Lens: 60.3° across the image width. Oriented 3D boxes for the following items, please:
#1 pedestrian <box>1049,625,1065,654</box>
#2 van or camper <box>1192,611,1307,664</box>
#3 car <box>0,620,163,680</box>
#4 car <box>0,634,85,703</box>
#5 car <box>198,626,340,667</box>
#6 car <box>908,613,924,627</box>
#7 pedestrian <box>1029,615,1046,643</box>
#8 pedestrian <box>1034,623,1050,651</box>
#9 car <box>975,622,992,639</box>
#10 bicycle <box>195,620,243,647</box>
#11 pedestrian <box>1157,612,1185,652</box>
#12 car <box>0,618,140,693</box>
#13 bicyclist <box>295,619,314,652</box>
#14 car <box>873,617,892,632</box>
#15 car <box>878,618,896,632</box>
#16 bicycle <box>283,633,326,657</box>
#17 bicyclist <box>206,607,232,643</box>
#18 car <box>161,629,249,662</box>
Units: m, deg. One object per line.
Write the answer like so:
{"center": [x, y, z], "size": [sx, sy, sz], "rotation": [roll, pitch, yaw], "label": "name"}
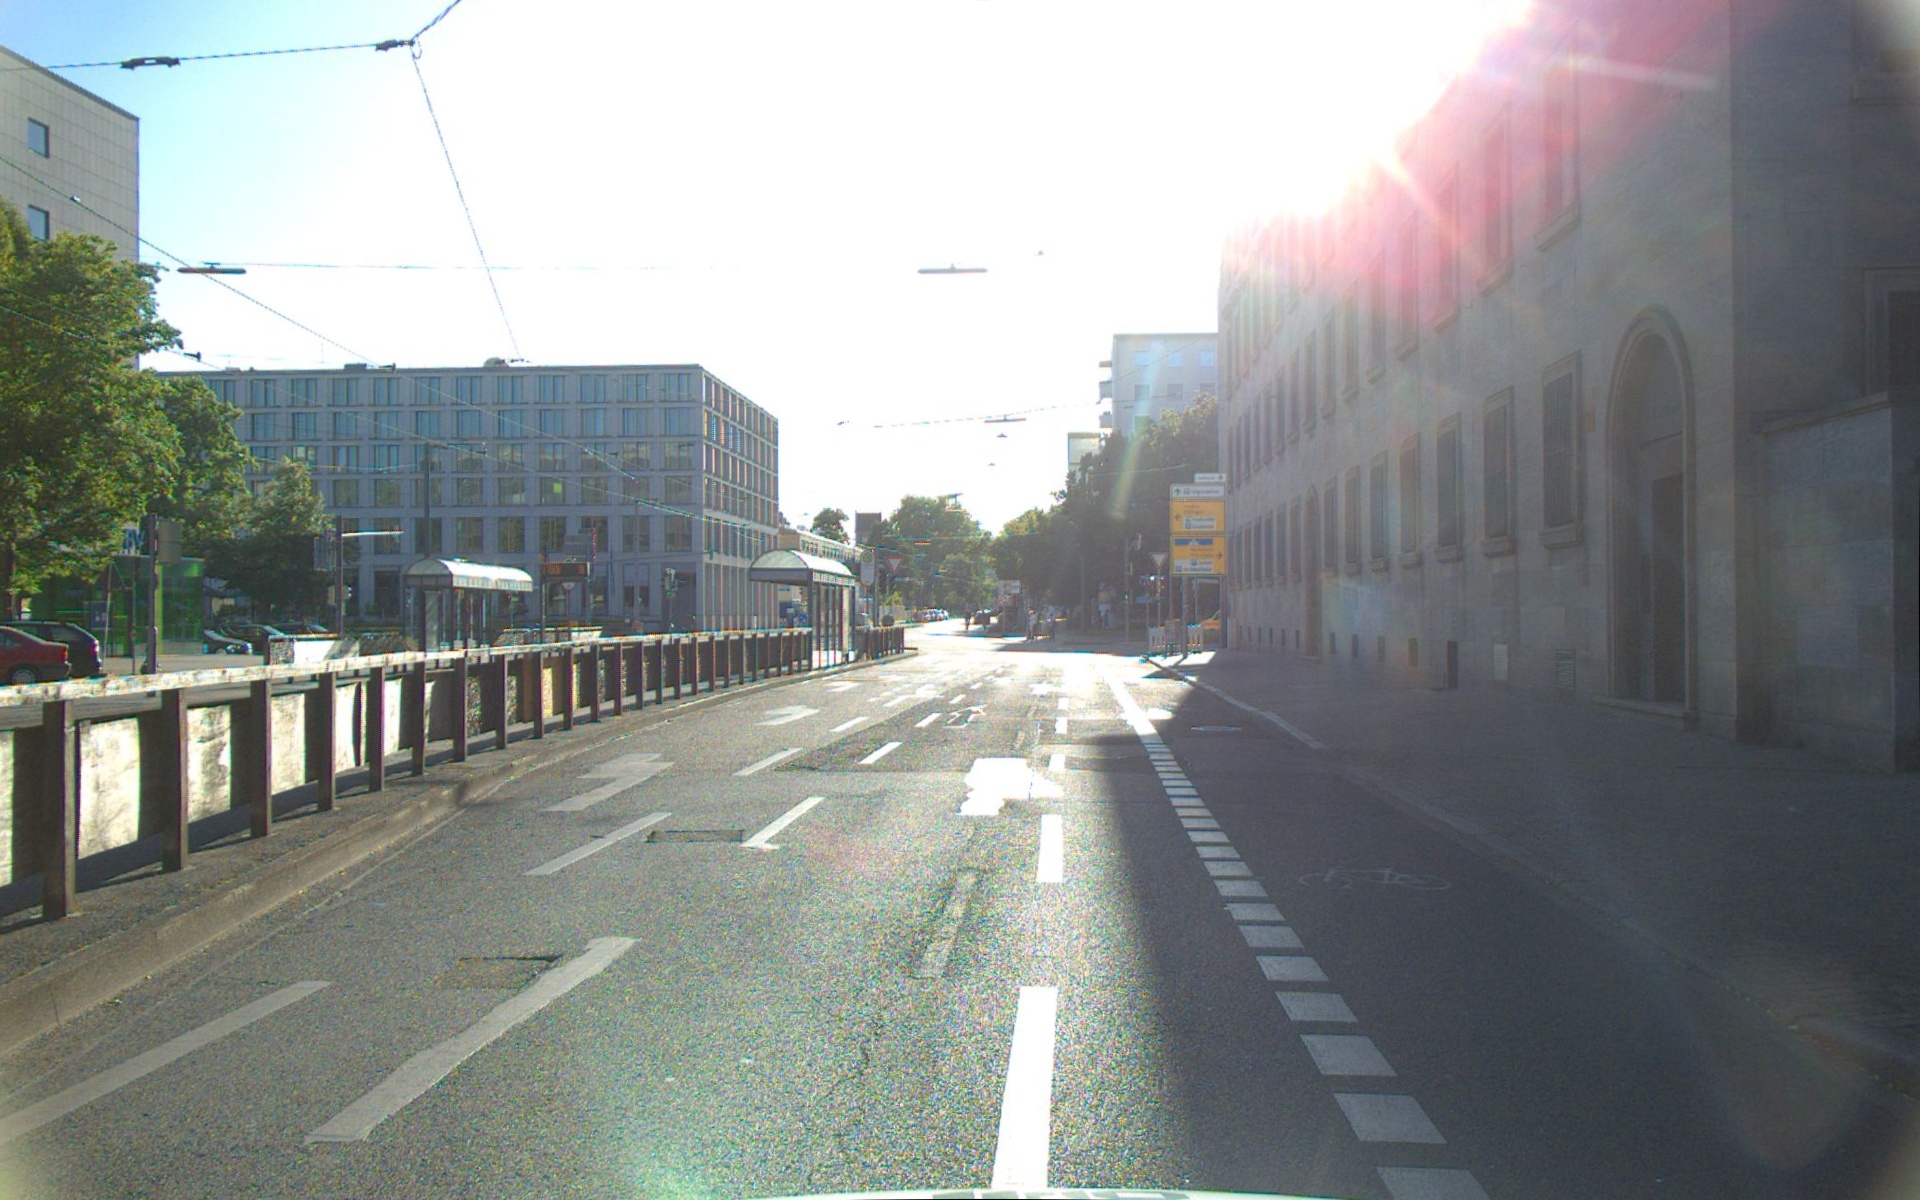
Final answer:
{"center": [6.279, 2.558, 106.788], "size": [0.833, 1.815, 0.777], "rotation": [0, -1, -12], "label": "pedestrian"}
{"center": [17.173, 2.240, 98.397], "size": [6.565, 2.912, 2.913], "rotation": [1, -2, 8], "label": "van or camper"}
{"center": [-24.681, 1.401, 45.994], "size": [4.451, 1.597, 1.575], "rotation": [2, -2, -29], "label": "car"}
{"center": [-21.341, 1.440, 35.250], "size": [4.472, 1.451, 1.846], "rotation": [3, -3, -40], "label": "car"}
{"center": [-24.324, 1.657, 58.249], "size": [4.451, 1.374, 1.575], "rotation": [2, -2, -29], "label": "car"}
{"center": [-5.774, 2.662, 218.493], "size": [1.781, 1.742, 3.807], "rotation": [-1, -1, 4], "label": "car"}
{"center": [4.973, 1.853, 106.108], "size": [0.949, 1.815, 0.777], "rotation": [0, -1, -12], "label": "pedestrian"}
{"center": [5.343, 2.404, 108.013], "size": [0.833, 1.815, 0.777], "rotation": [0, -1, -12], "label": "pedestrian"}
{"center": [2.592, 3.394, 182.748], "size": [1.649, 1.768, 3.510], "rotation": [1, -2, 4], "label": "car"}
{"center": [-36.675, 1.672, 81.873], "size": [2.004, 1.311, 0.887], "rotation": [-1, -1, 9], "label": "bicycle"}
{"center": [9.393, 1.421, 73.634], "size": [1.020, 1.751, 1.033], "rotation": [0, -1, -7], "label": "pedestrian"}
{"center": [-21.567, 1.280, 38.165], "size": [4.476, 1.670, 1.566], "rotation": [3, -3, -42], "label": "car"}
{"center": [-32.201, 1.755, 81.272], "size": [0.605, 1.610, 0.594], "rotation": [-1, -1, 15], "label": "bicyclist"}
{"center": [-9.129, 2.879, 195.878], "size": [1.781, 1.742, 3.807], "rotation": [-1, -1, 4], "label": "car"}
{"center": [-9.148, 3.127, 206.809], "size": [1.781, 1.742, 3.807], "rotation": [-1, -1, 4], "label": "car"}
{"center": [-32.185, 2.208, 81.254], "size": [1.882, 1.142, 0.790], "rotation": [-1, -1, 15], "label": "bicycle"}
{"center": [-36.675, 1.236, 81.885], "size": [0.871, 1.724, 0.845], "rotation": [-1, -1, 9], "label": "bicyclist"}
{"center": [-35.590, 2.123, 78.006], "size": [3.457, 1.533, 1.523], "rotation": [0, -1, 2], "label": "car"}
